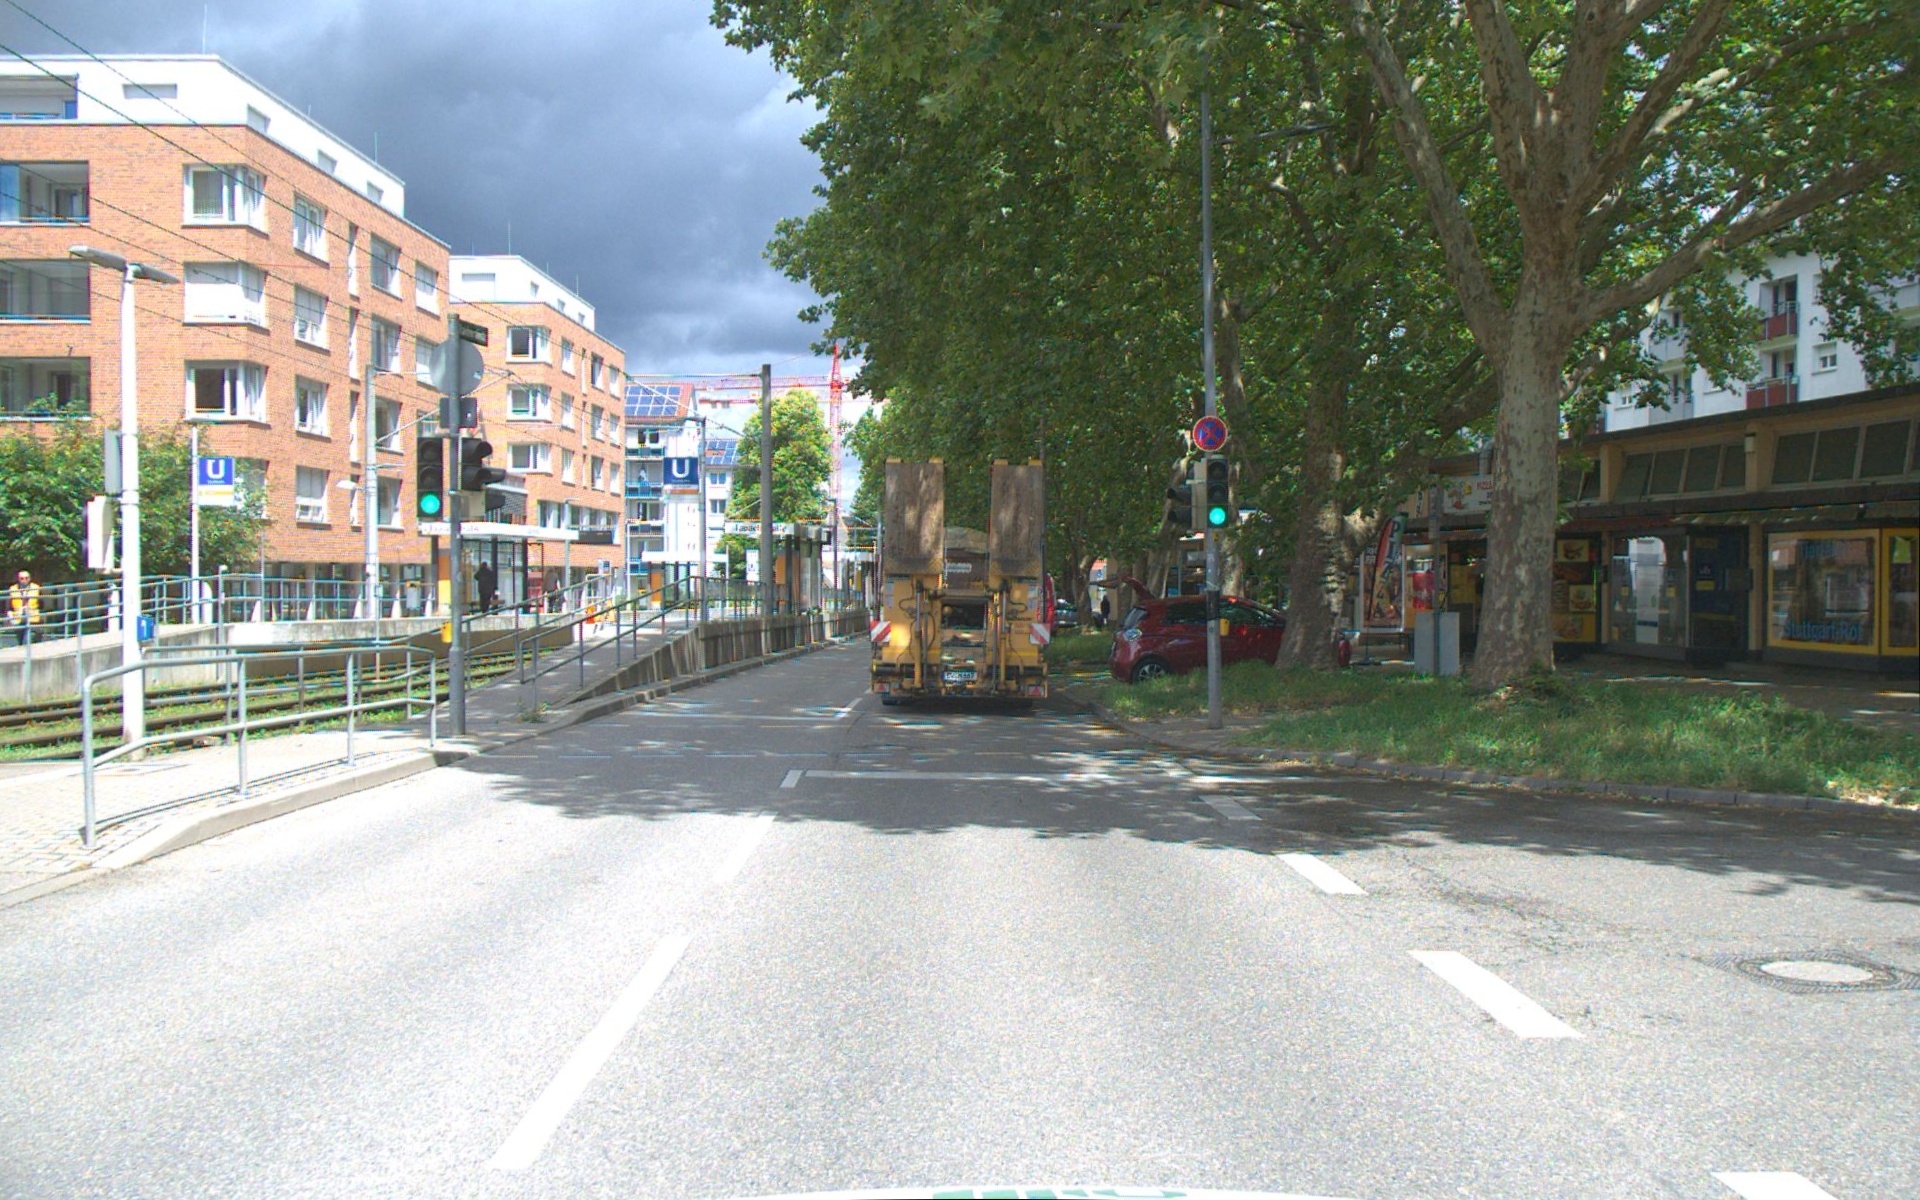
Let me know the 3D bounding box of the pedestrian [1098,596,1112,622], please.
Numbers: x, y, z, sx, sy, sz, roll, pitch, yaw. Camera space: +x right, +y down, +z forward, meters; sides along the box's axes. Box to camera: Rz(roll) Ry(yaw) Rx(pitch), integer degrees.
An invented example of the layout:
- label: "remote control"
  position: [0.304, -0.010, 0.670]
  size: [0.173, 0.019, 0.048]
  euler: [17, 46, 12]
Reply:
- label: "pedestrian"
  position: [7.826, 0.499, 89.494]
  size: [0.681, 1.416, 0.512]
  euler: [-1, 0, -4]

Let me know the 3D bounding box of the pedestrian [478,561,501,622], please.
- label: "pedestrian"
  position: [-13.979, -0.251, 49.127]
  size: [0.523, 1.794, 0.528]
  euler: [0, 0, -3]

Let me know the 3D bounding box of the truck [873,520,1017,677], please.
- label: "truck"
  position: [-0.318, -0.029, 37.992]
  size: [2.928, 3.190, 7.887]
  euler: [1, 0, 0]

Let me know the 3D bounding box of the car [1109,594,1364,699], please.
- label: "car"
  position: [4.458, 0.737, 27.140]
  size: [3.945, 1.639, 1.731]
  euler: [-1, 0, 3]

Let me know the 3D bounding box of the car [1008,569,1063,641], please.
- label: "car"
  position: [2.942, 0.195, 65.767]
  size: [1.865, 2.626, 6.834]
  euler: [-2, 0, 0]

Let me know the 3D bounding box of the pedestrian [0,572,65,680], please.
- label: "pedestrian"
  position: [-16.178, 0.438, 28.788]
  size: [0.728, 1.857, 0.828]
  euler: [0, 0, -1]

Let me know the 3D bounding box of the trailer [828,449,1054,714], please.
- label: "trailer"
  position: [-0.287, -0.252, 28.507]
  size: [3.090, 3.615, 11.095]
  euler: [1, 0, 0]

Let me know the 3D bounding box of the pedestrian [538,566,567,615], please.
- label: "pedestrian"
  position: [-13.871, -0.317, 56.344]
  size: [0.736, 1.657, 0.816]
  euler: [1, 0, 0]

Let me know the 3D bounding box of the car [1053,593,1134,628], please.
- label: "car"
  position: [6.548, 0.519, 81.364]
  size: [3.756, 1.589, 1.617]
  euler: [-1, 0, -6]

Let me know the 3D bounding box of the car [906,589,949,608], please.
- label: "car"
  position: [-4.031, -0.206, 205.409]
  size: [5.003, 2.139, 1.969]
  euler: [2, -1, -14]

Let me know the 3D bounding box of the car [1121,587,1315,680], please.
- label: "car"
  position: [4.874, 0.620, 31.498]
  size: [3.340, 1.541, 1.609]
  euler: [-3, 0, -4]
